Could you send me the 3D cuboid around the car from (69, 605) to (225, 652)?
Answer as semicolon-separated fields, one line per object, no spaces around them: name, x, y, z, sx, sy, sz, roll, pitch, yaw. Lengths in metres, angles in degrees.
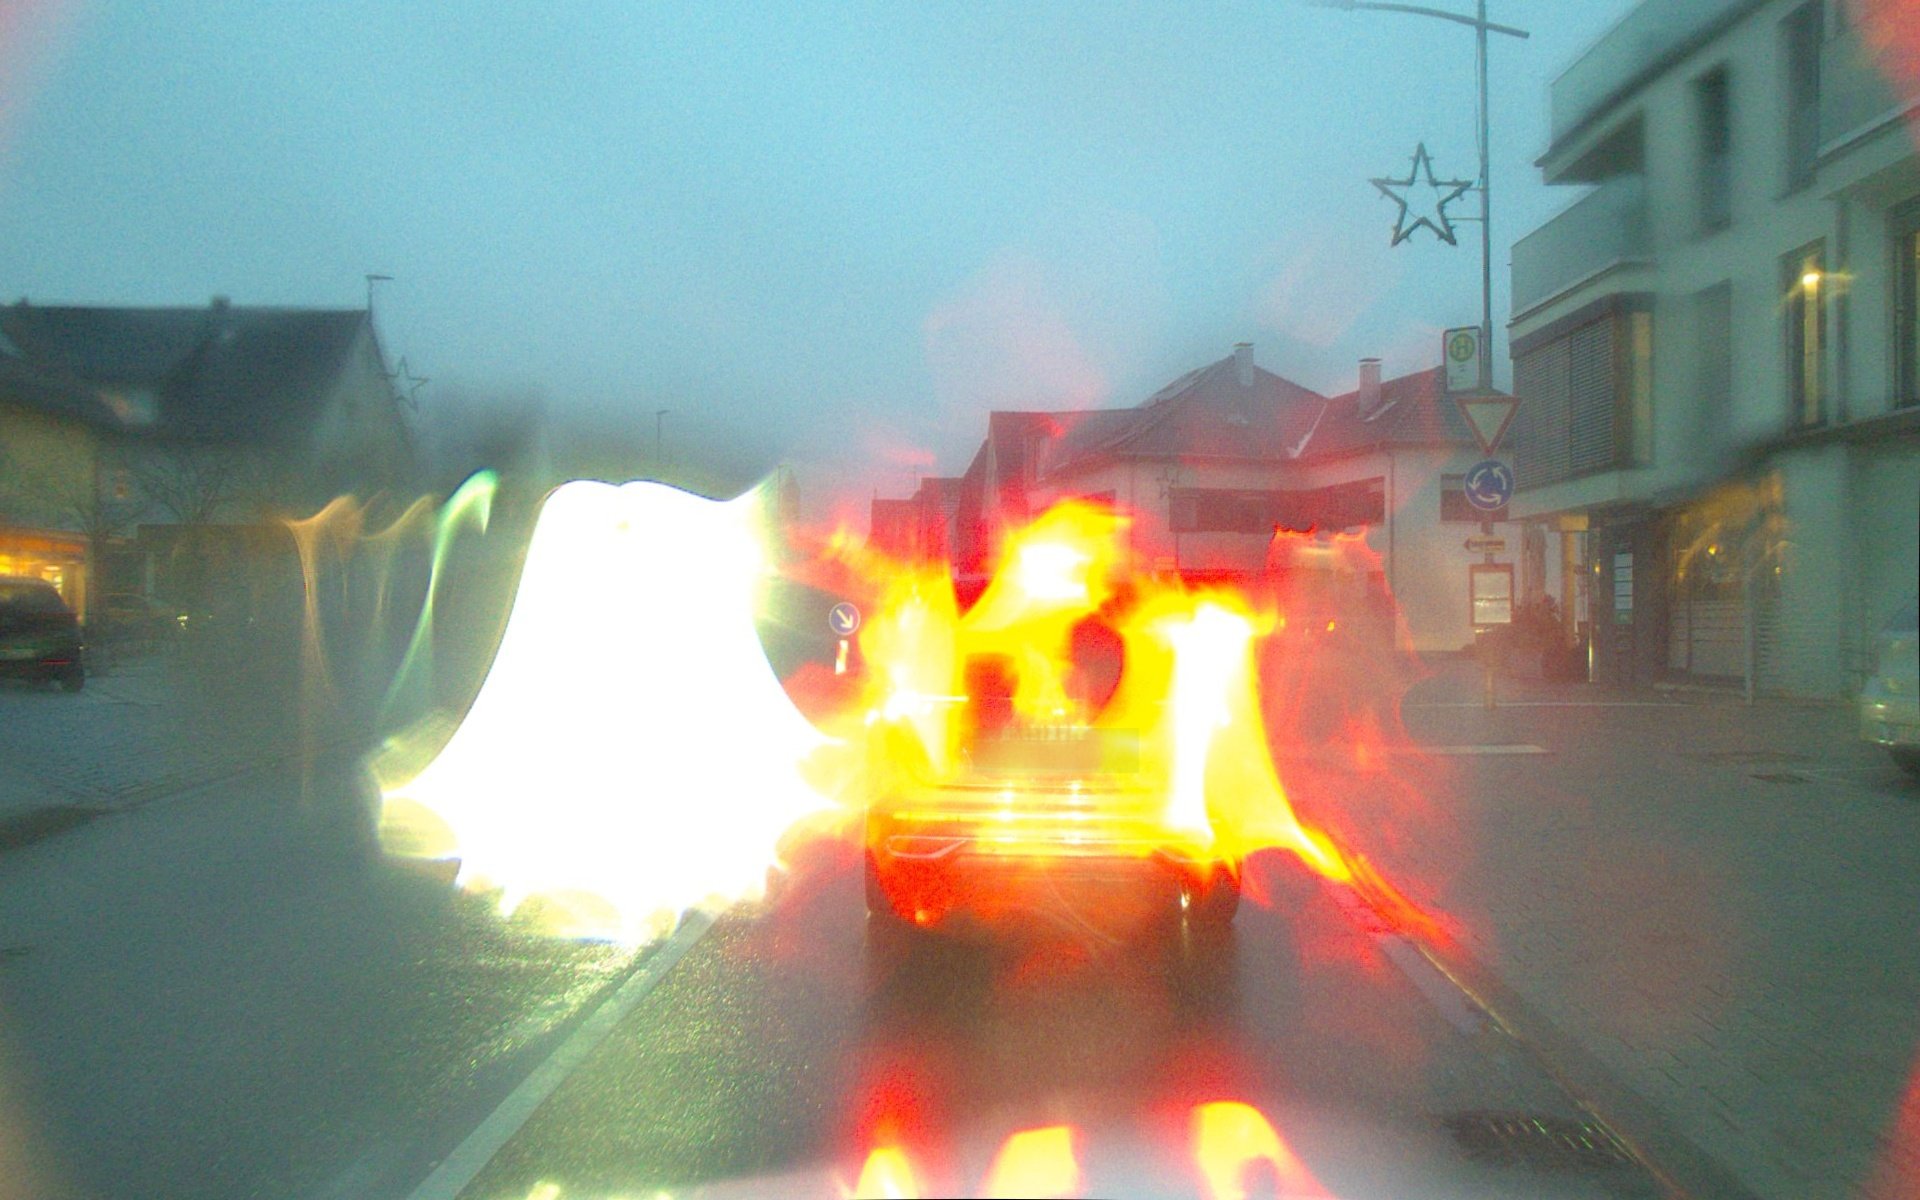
car;-25.001;0.871;50.960;3.908;1.388;1.726;0;0;-5

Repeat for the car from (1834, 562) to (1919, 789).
car;8.343;0.399;11.021;4.125;1.485;1.790;-3;0;-7

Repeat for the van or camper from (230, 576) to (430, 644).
van or camper;-18.911;0.297;49.728;5.412;1.989;2.002;0;0;13

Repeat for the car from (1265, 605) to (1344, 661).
car;9.452;0.897;45.611;1.951;1.443;4.003;-1;-1;10

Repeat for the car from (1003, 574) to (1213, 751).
car;1.318;0.528;16.129;1.648;1.478;4.000;1;0;0

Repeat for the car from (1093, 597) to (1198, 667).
car;4.123;0.659;36.333;1.951;1.416;4.004;0;0;11

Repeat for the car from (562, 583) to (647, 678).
car;-9.160;0.759;42.548;1.959;2.242;4.403;2;-1;-13

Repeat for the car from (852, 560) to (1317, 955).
car;0.521;0.656;9.129;1.924;1.622;4.313;1;0;0

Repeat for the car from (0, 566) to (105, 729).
car;-12.404;0.569;21.787;2.014;1.959;4.020;0;0;-27
